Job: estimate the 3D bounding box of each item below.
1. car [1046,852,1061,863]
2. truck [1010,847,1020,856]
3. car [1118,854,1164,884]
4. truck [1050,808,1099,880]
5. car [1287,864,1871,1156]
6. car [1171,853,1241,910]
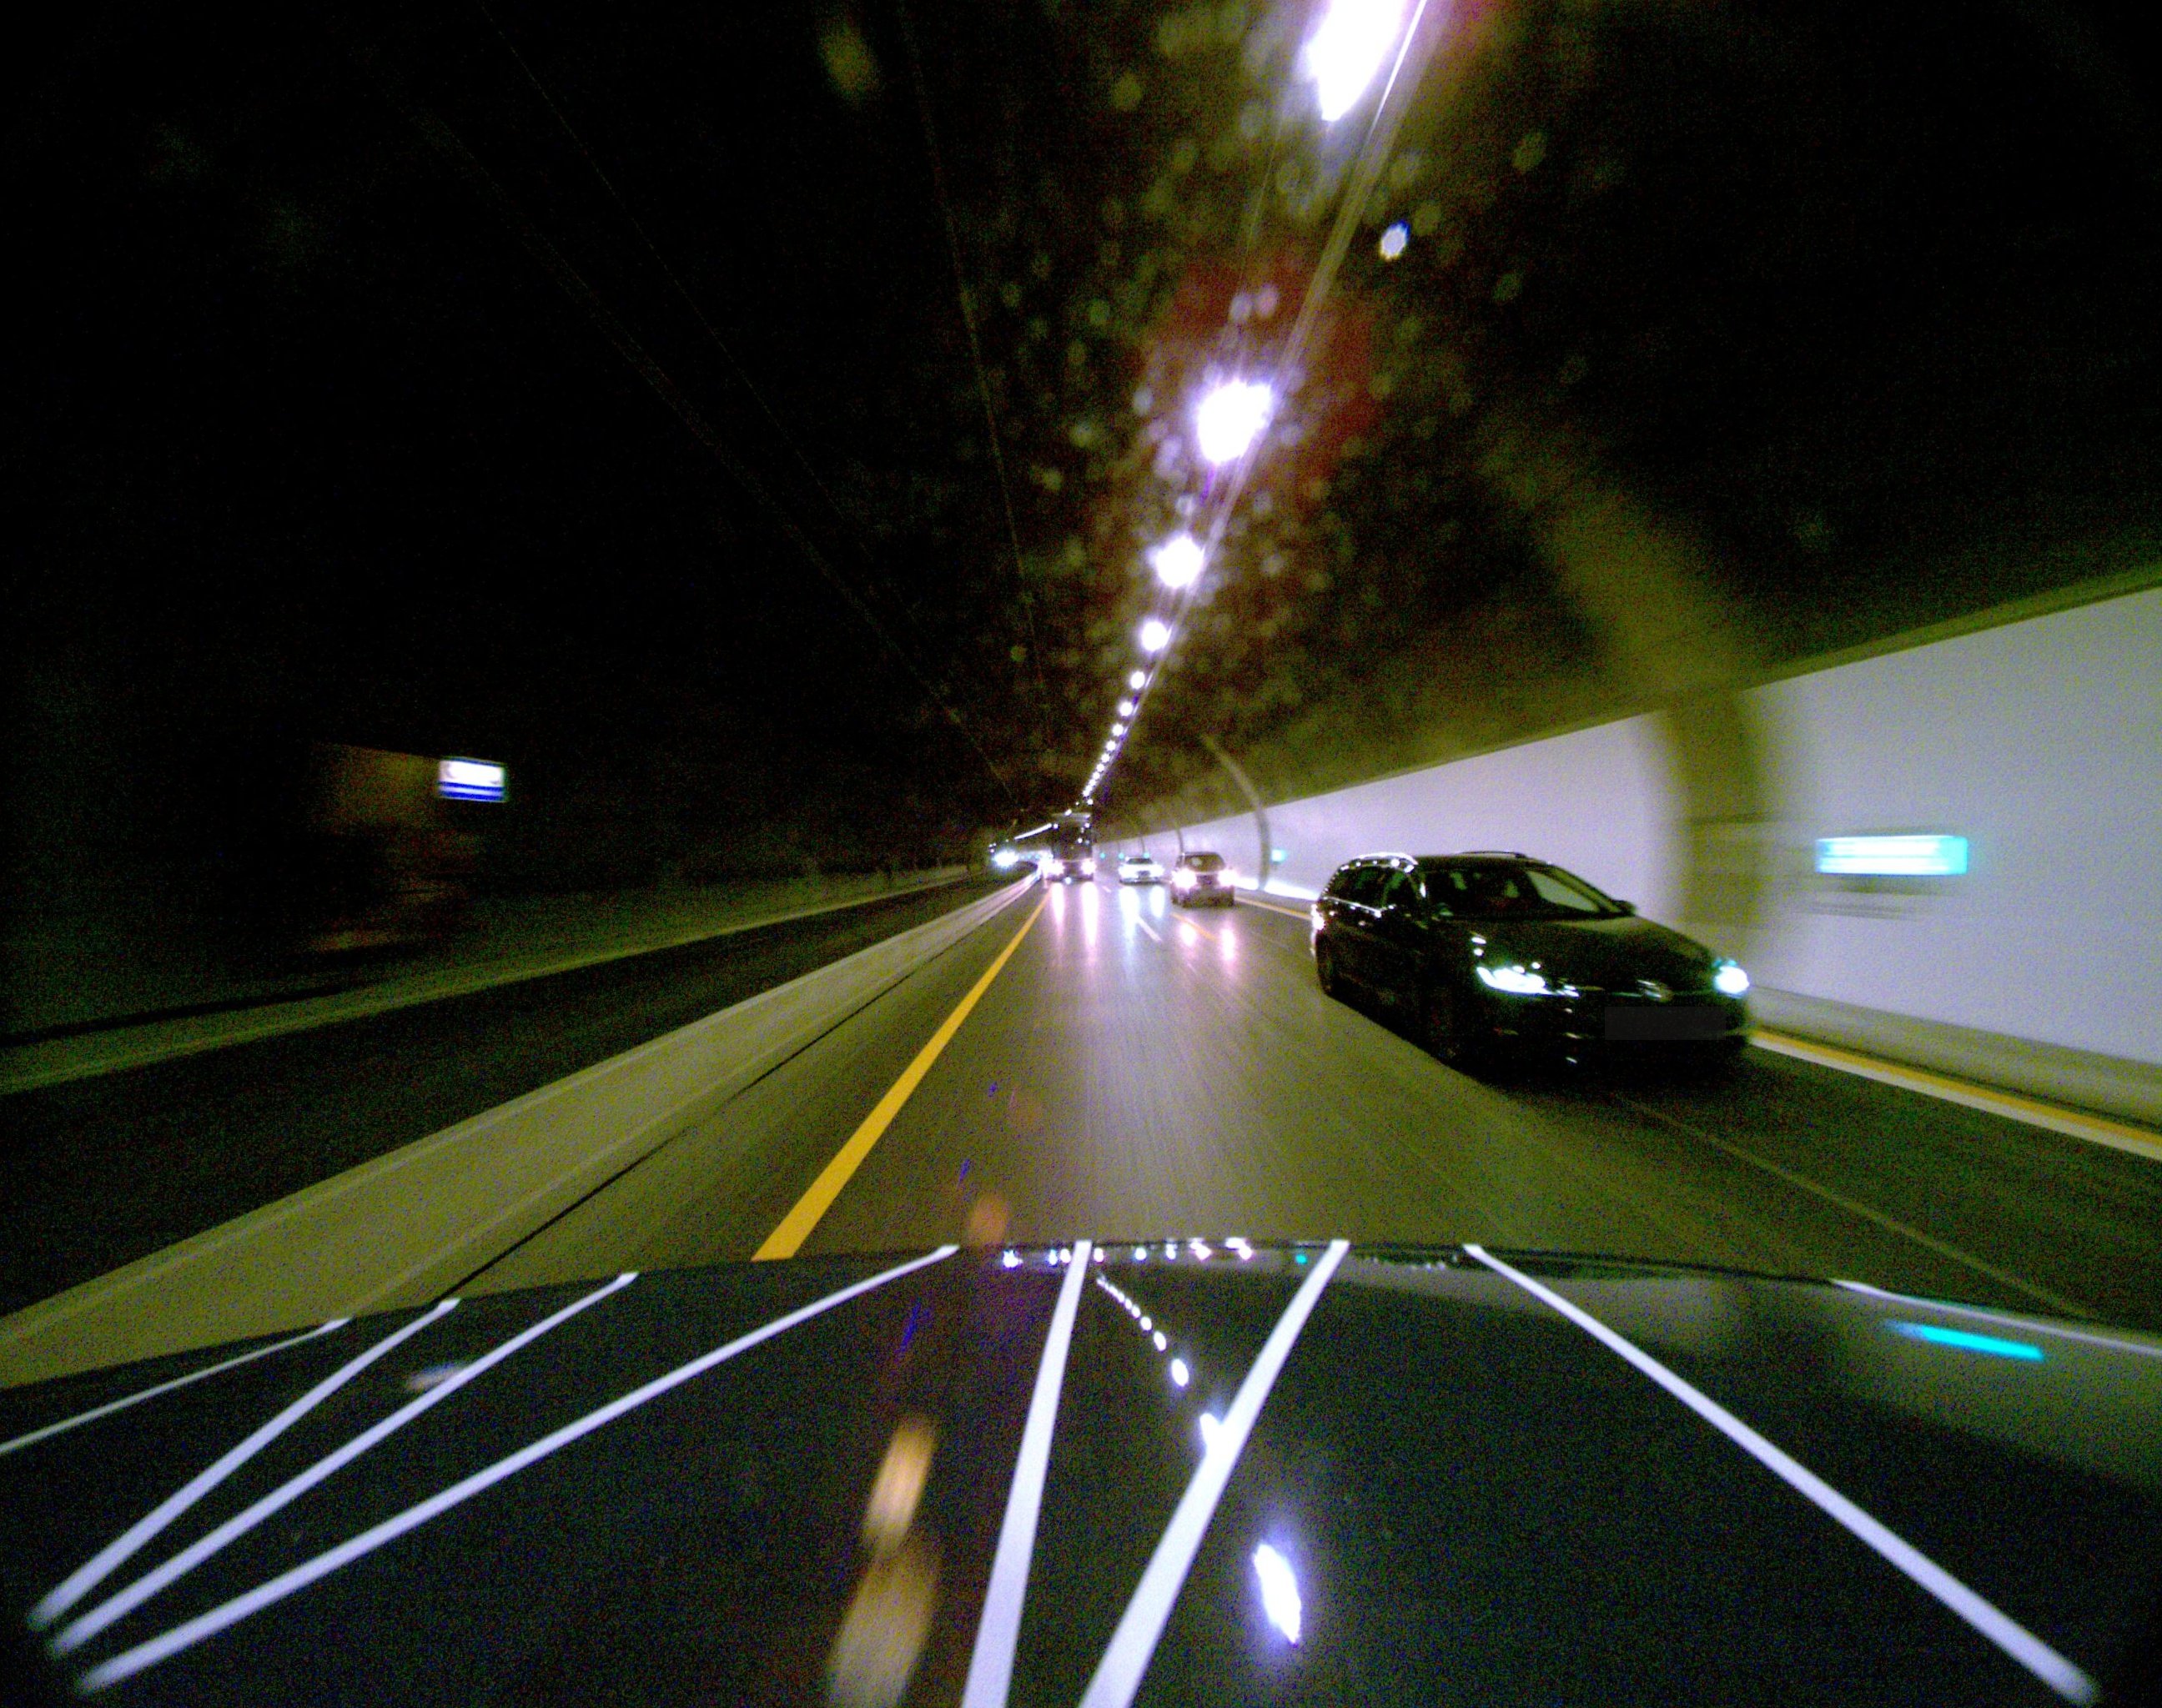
[{"bbox_3d":[-4.141,0.525,114.114,1.999,1.524,3.998,-2,0,-4],"label":"car"},{"bbox_3d":[-20.908,-0.812,240.152,2.611,2.723,6.393,-2,0,-8],"label":"truck"},{"bbox_3d":[3.028,0.726,38.991,1.909,1.412,4.060,-1,0,-1],"label":"car"},{"bbox_3d":[-0.445,-0.601,48.477,2.742,4.127,8.099,-1,0,-1],"label":"truck"},{"bbox_3d":[3.329,0.870,6.507,1.782,1.430,4.882,-2,0,0],"label":"car"},{"bbox_3d":[3.557,0.748,21.965,1.531,1.508,2.651,-1,0,0],"label":"car"}]
